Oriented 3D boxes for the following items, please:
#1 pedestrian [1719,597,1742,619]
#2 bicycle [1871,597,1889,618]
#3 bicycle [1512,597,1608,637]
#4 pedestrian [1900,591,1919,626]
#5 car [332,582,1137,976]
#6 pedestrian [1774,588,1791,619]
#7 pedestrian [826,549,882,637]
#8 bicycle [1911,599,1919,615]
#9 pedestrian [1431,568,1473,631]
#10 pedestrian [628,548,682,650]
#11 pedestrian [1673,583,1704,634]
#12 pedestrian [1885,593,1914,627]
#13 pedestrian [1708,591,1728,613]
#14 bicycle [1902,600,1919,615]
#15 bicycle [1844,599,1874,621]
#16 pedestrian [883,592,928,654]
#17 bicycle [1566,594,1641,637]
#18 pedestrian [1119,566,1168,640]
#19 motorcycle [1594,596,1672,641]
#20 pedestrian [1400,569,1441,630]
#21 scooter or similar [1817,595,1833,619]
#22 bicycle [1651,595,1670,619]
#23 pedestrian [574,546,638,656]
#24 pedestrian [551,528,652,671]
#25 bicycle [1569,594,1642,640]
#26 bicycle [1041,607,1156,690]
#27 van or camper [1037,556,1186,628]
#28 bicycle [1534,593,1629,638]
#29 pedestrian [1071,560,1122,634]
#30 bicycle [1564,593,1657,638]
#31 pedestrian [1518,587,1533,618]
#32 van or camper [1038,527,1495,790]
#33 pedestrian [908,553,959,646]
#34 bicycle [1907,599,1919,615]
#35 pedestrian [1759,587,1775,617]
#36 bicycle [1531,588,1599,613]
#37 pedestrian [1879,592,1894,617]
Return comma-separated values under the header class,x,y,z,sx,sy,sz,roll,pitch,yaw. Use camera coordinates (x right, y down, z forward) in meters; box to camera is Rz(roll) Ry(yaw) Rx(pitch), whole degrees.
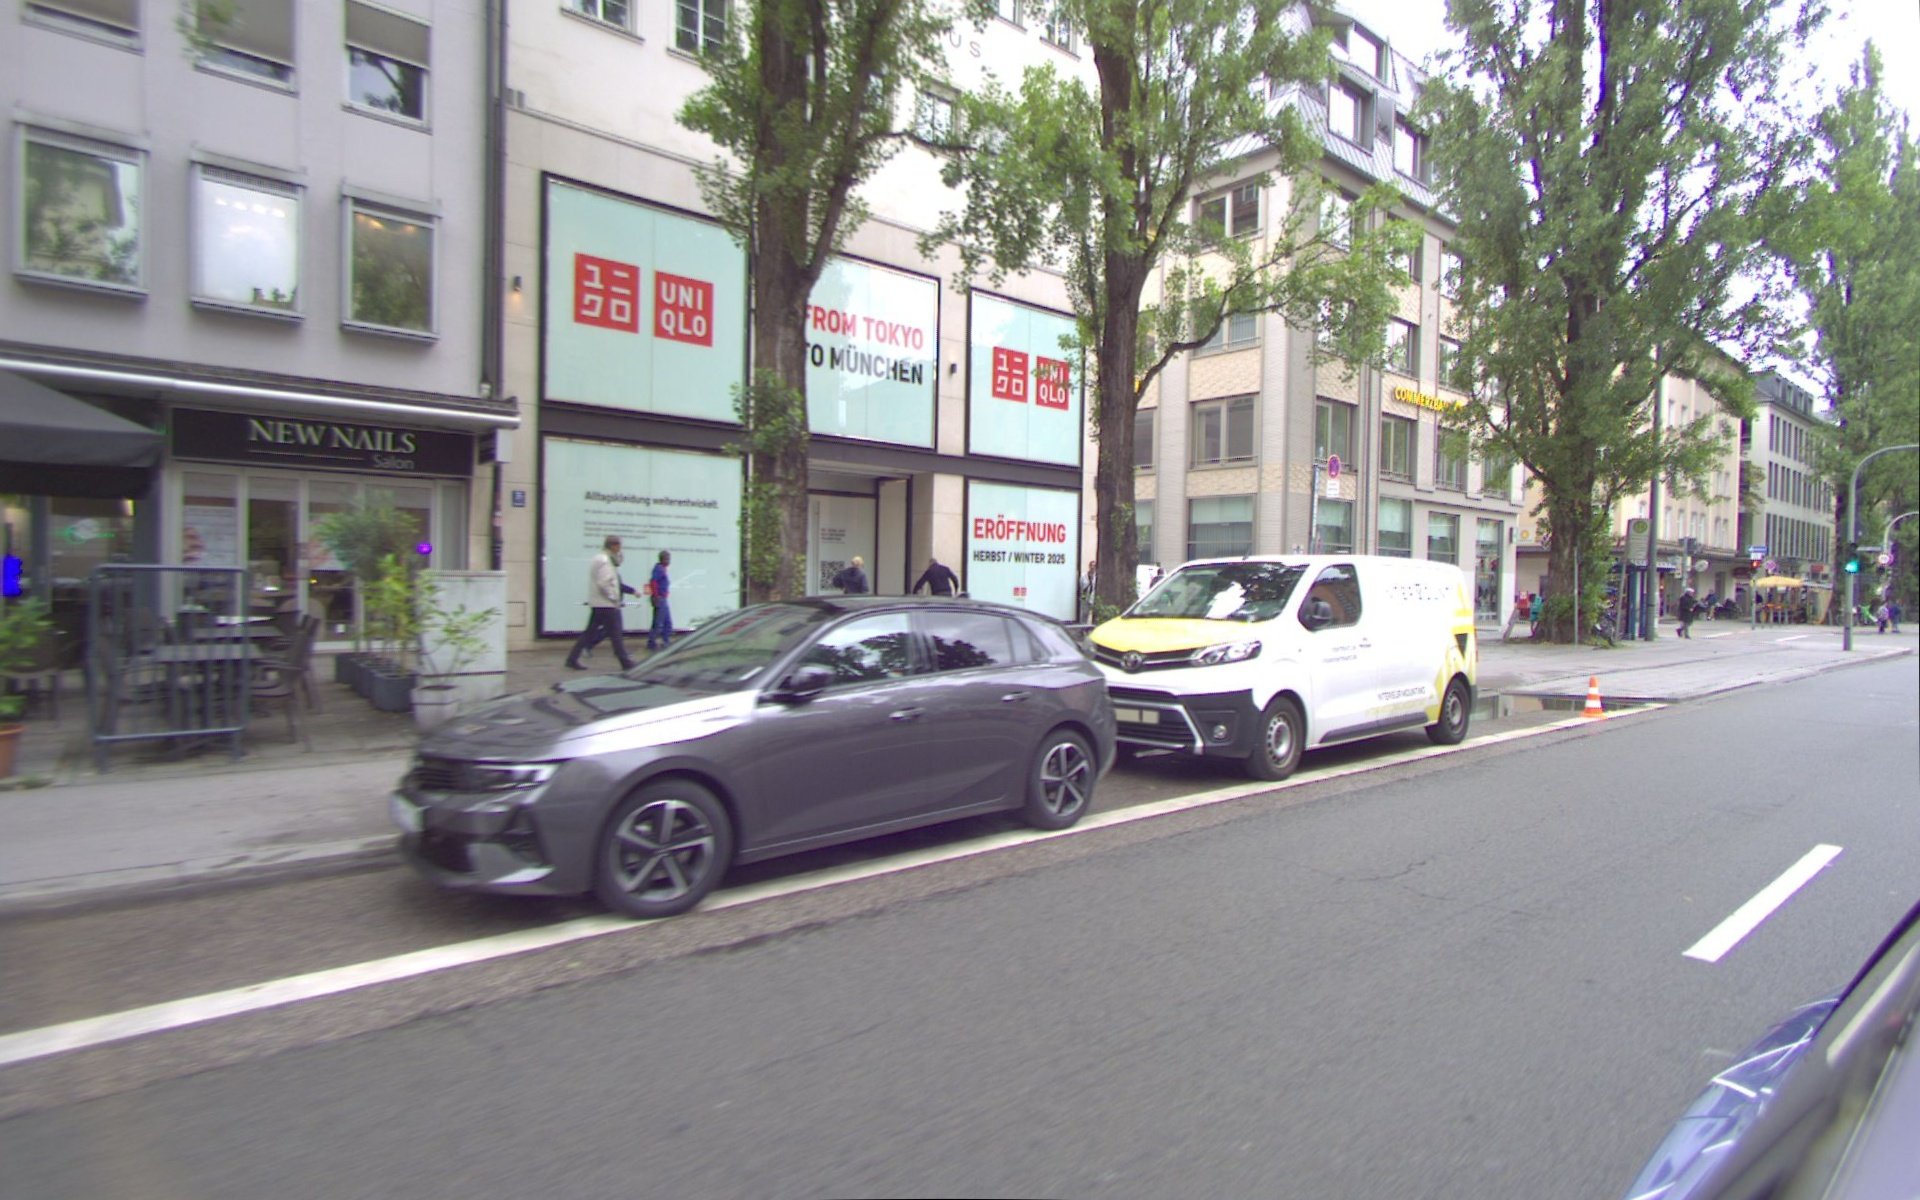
class,x,y,z,sx,sy,sz,roll,pitch,yaw
pedestrian,42.971,0.428,56.444,0.687,1.214,0.870,1,1,-39
bicycle,49.014,0.391,53.912,1.740,1.061,0.509,0,1,-43
bicycle,16.990,0.452,28.701,0.859,1.030,2.153,0,1,-40
pedestrian,45.183,0.413,48.036,0.850,1.630,0.766,0,1,-44
car,-0.984,0.662,5.855,4.279,1.460,1.721,0,0,-42
pedestrian,46.133,0.179,56.756,0.526,1.694,0.542,1,1,-33
pedestrian,-2.016,-0.134,19.250,0.668,1.629,0.817,2,1,37
bicycle,68.492,0.512,71.484,1.864,1.149,0.335,2,1,42
pedestrian,14.687,-0.018,30.216,0.875,1.840,0.819,0,1,-42
pedestrian,-5.026,-0.022,16.673,0.671,1.629,0.672,0,1,-35
pedestrian,26.149,0.306,36.311,0.739,1.780,0.710,0,1,-39
pedestrian,43.626,0.467,46.998,0.608,1.536,0.768,0,2,4
pedestrian,44.168,0.112,59.000,0.687,1.280,0.777,0,1,-40
bicycle,64.447,0.533,67.727,1.997,0.957,0.281,2,1,42
bicycle,46.805,0.513,52.673,1.774,1.084,0.406,0,-4,-25
pedestrian,-1.114,0.456,20.689,0.672,1.249,0.671,0,0,-39
bicycle,20.295,0.477,31.976,0.467,1.268,2.252,1,1,-16
pedestrian,4.259,0.053,23.475,0.945,1.683,0.653,0,1,-40
motorcycle,18.726,0.499,28.195,0.500,1.154,1.729,0,1,-38
pedestrian,14.115,-0.025,31.019,0.875,1.840,0.819,0,1,-42
scooter or similar,44.916,0.352,52.552,0.405,1.259,1.355,1,1,33
bicycle,35.981,0.362,51.978,1.780,1.185,0.435,0,0,-42
pedestrian,-5.428,0.005,15.505,0.757,1.630,0.672,0,0,-37
pedestrian,-4.916,-0.016,13.878,1.080,1.864,0.828,0,1,-40
bicycle,18.781,0.466,29.487,0.441,1.254,1.729,0,1,-38
bicycle,1.890,0.630,13.687,1.696,1.051,0.366,0,1,-33
van or camper,4.243,-0.221,28.821,1.862,1.890,4.117,0,0,-36
bicycle,18.696,0.445,30.516,0.622,1.268,2.348,0,1,-40
pedestrian,3.267,-0.082,24.236,0.945,1.739,0.751,1,1,-40
bicycle,19.577,0.445,30.523,0.469,1.268,2.320,0,1,-40
pedestrian,29.001,0.117,51.896,0.437,1.577,0.584,0,0,-39
van or camper,3.108,0.398,9.627,4.817,1.906,1.872,0,1,-41
pedestrian,-0.513,-0.016,20.062,0.854,1.786,0.682,1,1,12
bicycle,67.457,0.499,70.802,1.658,1.121,0.391,2,1,39
pedestrian,46.679,0.121,58.557,0.526,1.694,0.542,1,1,-33
bicycle,32.217,0.010,53.913,0.982,1.268,2.976,0,0,-40
pedestrian,71.995,0.340,78.638,0.889,1.874,0.658,1,1,-38
